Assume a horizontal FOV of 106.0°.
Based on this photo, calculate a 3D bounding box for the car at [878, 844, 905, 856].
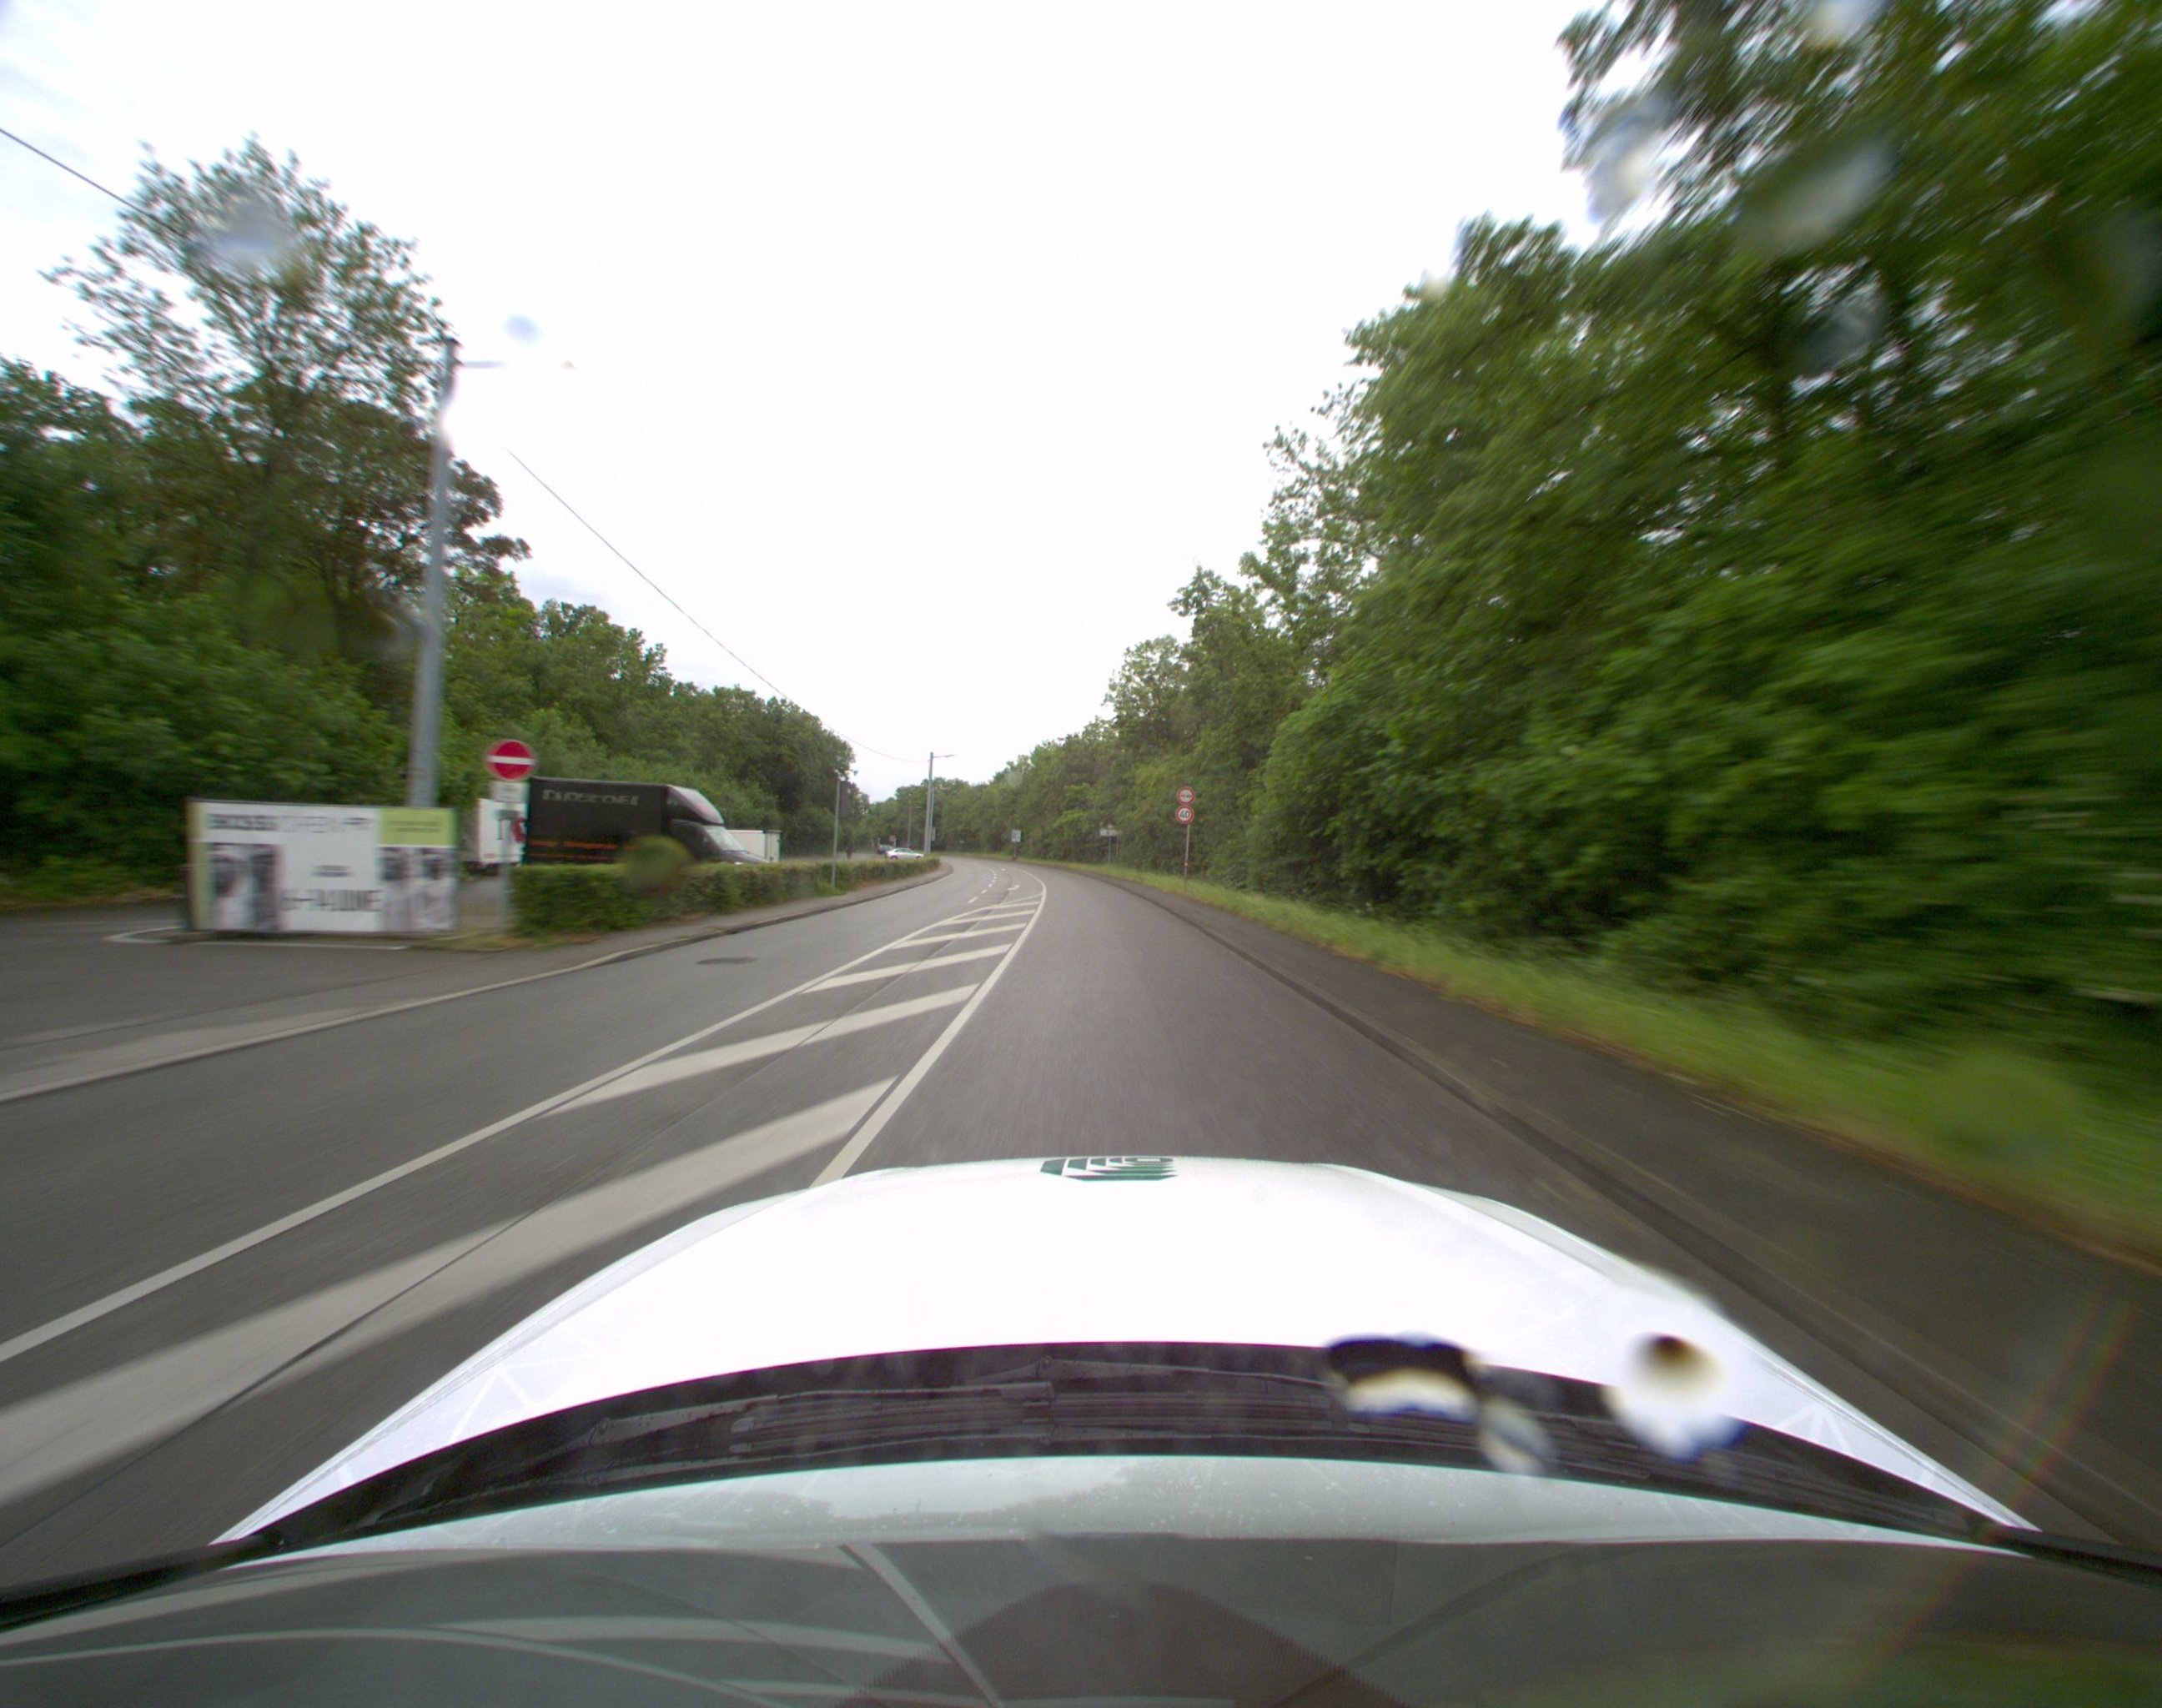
[{"bbox_3d":[-31.355,-0.656,134.474,4.298,1.708,1.990,1,0,-15],"label":"car"}]

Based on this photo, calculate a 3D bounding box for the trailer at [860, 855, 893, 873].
[{"bbox_3d":[-12.322,0.580,49.094,1.801,1.034,1.330,1,0,-9],"label":"trailer"}]

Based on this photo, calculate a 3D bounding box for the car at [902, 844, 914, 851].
[{"bbox_3d":[-39.006,-1.381,183.620,1.943,1.498,4.285,1,0,-23],"label":"car"}]

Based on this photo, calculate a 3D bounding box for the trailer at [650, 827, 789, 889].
[{"bbox_3d":[-12.507,0.147,28.394,3.978,2.053,1.871,1,0,-3],"label":"trailer"}]

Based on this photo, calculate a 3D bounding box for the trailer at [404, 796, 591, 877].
[{"bbox_3d":[-23.242,-0.620,33.103,2.472,2.873,7.961,0,0,-6],"label":"trailer"}]

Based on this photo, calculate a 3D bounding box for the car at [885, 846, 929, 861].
[{"bbox_3d":[-19.233,-0.048,89.970,4.587,1.506,1.988,1,0,-18],"label":"car"}]

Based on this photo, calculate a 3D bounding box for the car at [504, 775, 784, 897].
[{"bbox_3d":[-12.025,-0.443,22.982,6.263,3.113,2.746,1,-1,-6],"label":"car"}]

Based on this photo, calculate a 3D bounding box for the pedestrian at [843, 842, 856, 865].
[{"bbox_3d":[-18.423,-0.075,64.902,0.817,1.797,1.132,1,0,-10],"label":"pedestrian"}]
